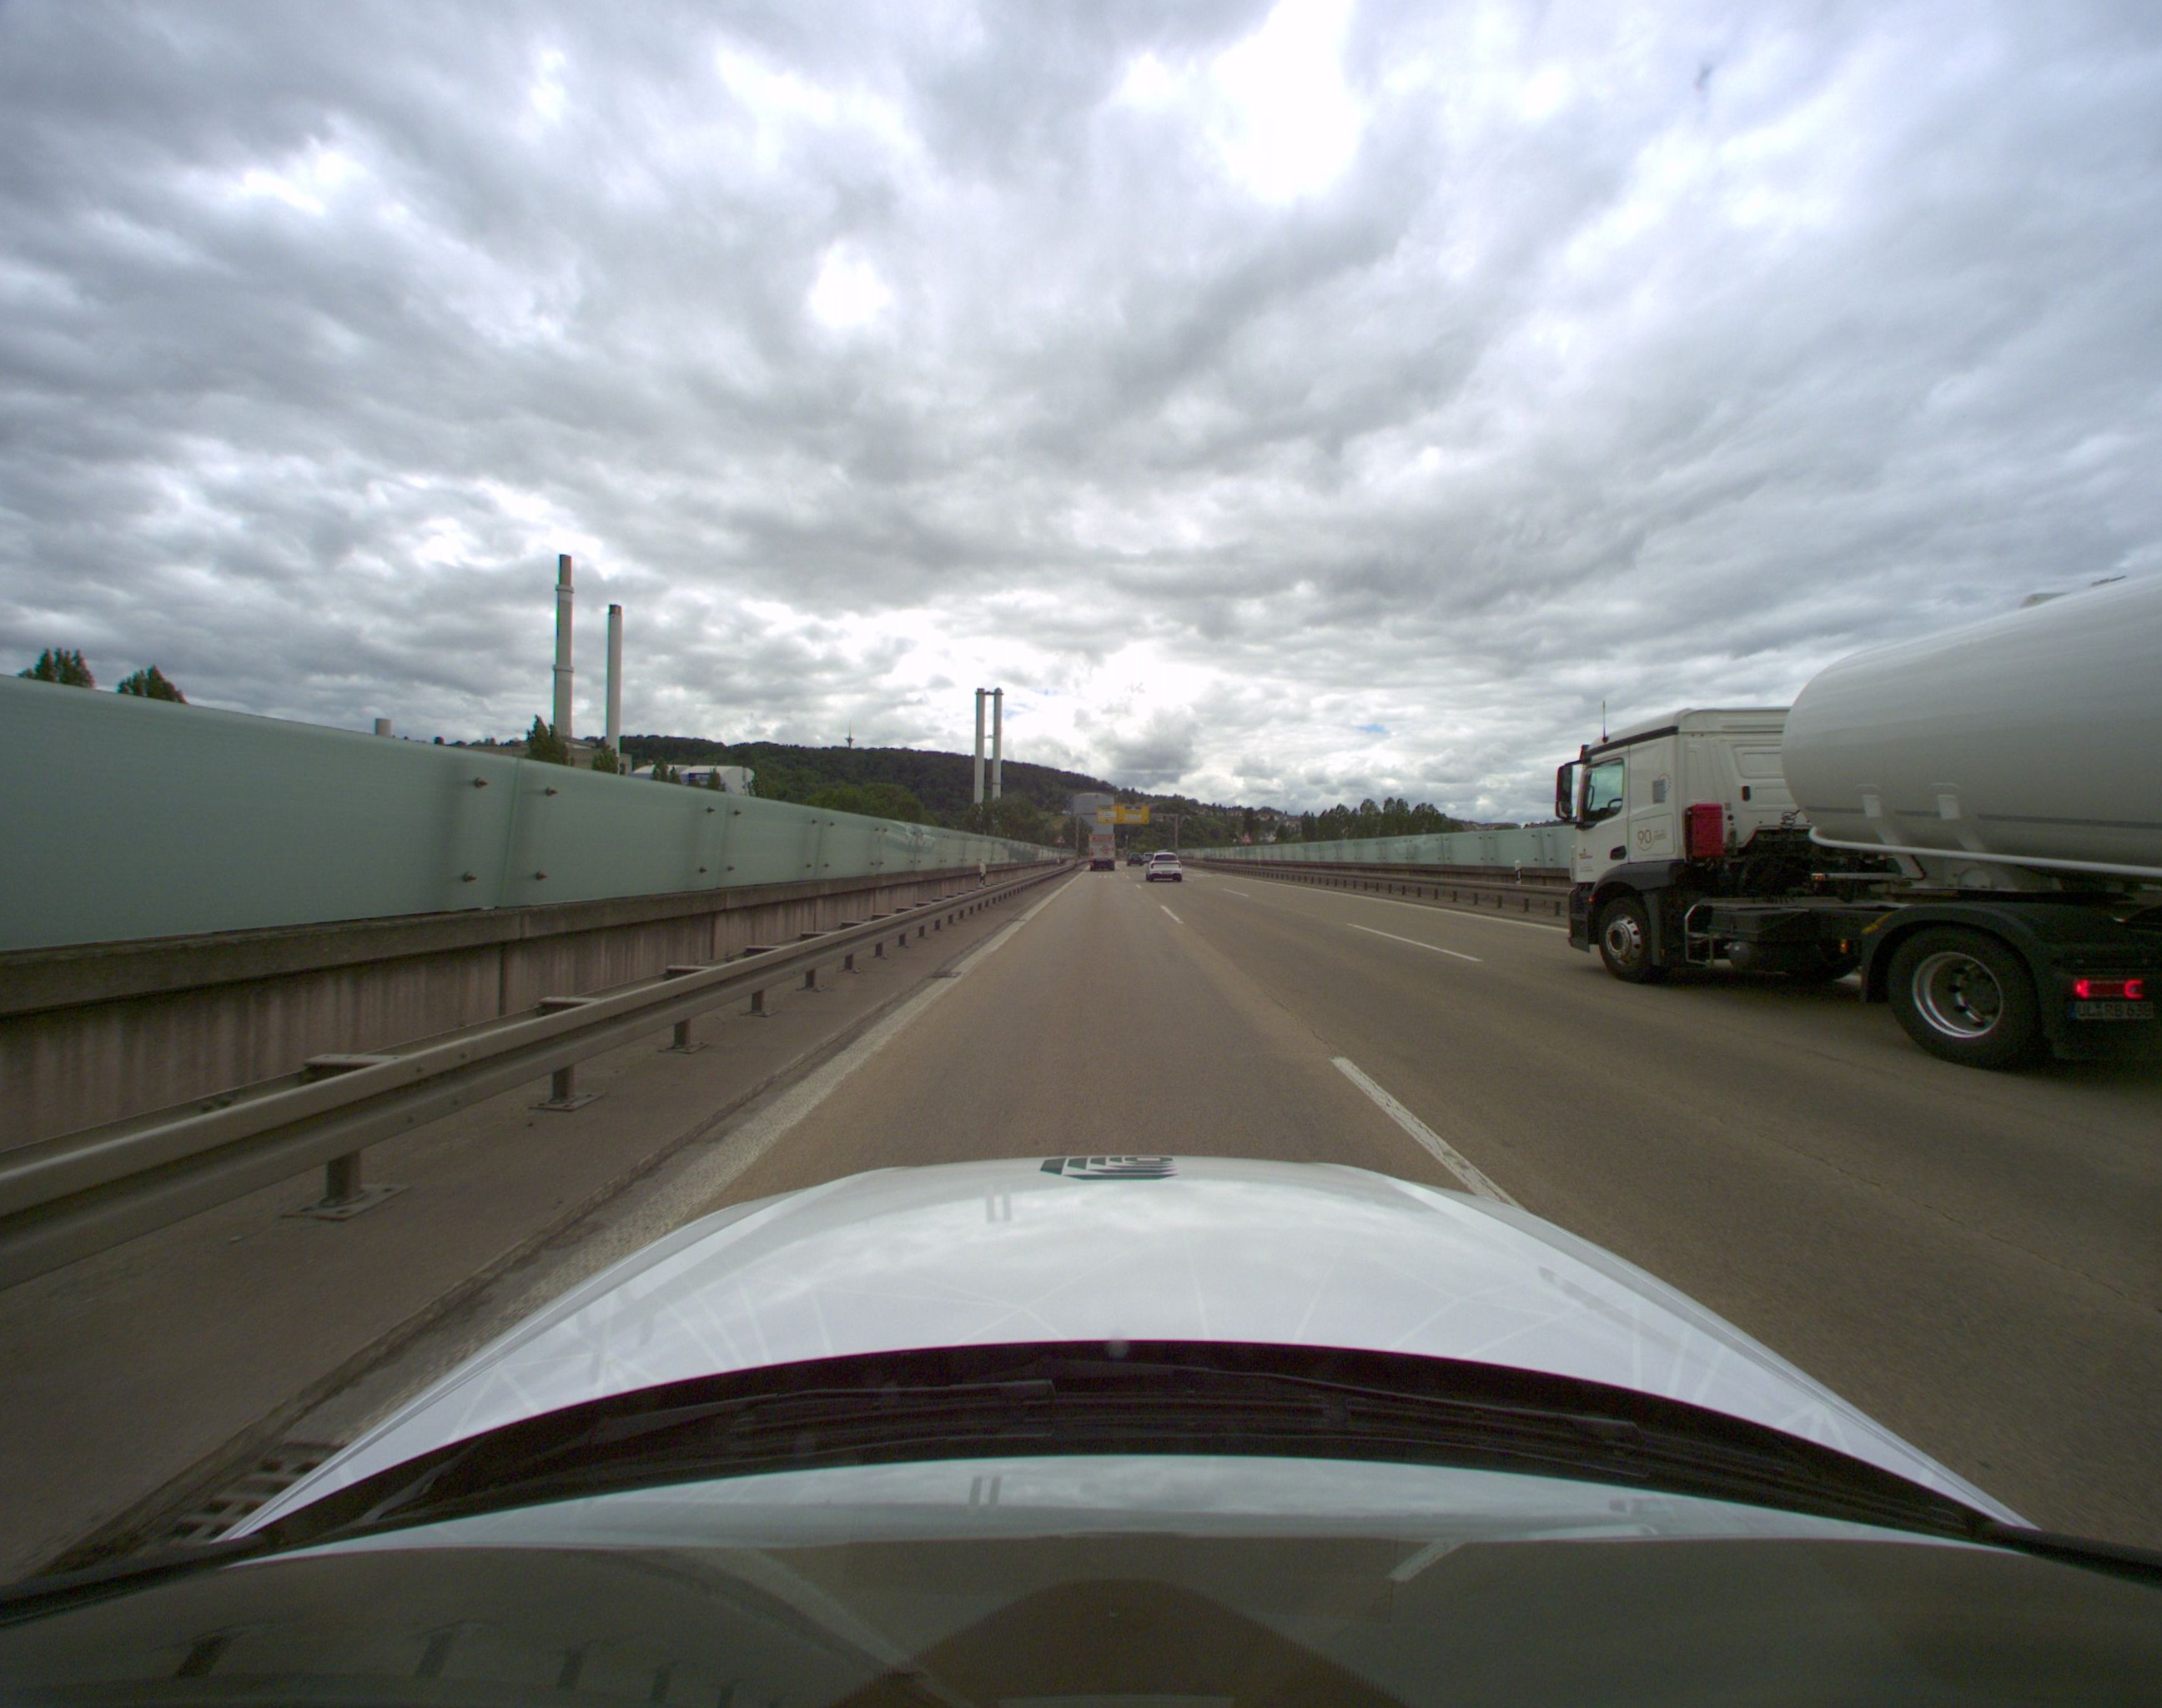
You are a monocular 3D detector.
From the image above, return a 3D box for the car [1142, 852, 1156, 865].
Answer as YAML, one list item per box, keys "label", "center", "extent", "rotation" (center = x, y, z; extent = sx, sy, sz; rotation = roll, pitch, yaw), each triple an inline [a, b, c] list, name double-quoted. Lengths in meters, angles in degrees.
- label: "car"
  center: [9.850, 0.693, 117.925]
  extent: [1.916, 1.785, 4.115]
  rotation: [0, 0, 2]

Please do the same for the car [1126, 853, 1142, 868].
- label: "car"
  center: [6.738, 0.799, 103.296]
  extent: [1.916, 1.785, 4.115]
  rotation: [0, 0, 2]

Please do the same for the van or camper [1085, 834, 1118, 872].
- label: "van or camper"
  center: [2.148, -0.083, 81.059]
  extent: [3.109, 3.579, 8.556]
  rotation: [0, 0, 3]

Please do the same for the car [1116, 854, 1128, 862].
- label: "car"
  center: [10.407, 1.055, 206.191]
  extent: [2.457, 1.979, 5.176]
  rotation: [0, 0, 11]

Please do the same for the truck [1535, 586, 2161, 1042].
- label: "truck"
  center: [7.497, -0.317, 8.751]
  extent: [2.621, 3.514, 4.906]
  rotation: [0, 0, 2]

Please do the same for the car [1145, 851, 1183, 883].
- label: "car"
  center: [4.752, 0.717, 47.177]
  extent: [1.916, 1.785, 4.115]
  rotation: [0, 0, 2]

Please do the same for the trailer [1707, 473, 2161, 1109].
- label: "trailer"
  center: [7.277, -0.357, 2.337]
  extent: [2.640, 3.543, 11.225]
  rotation: [0, 0, 2]
